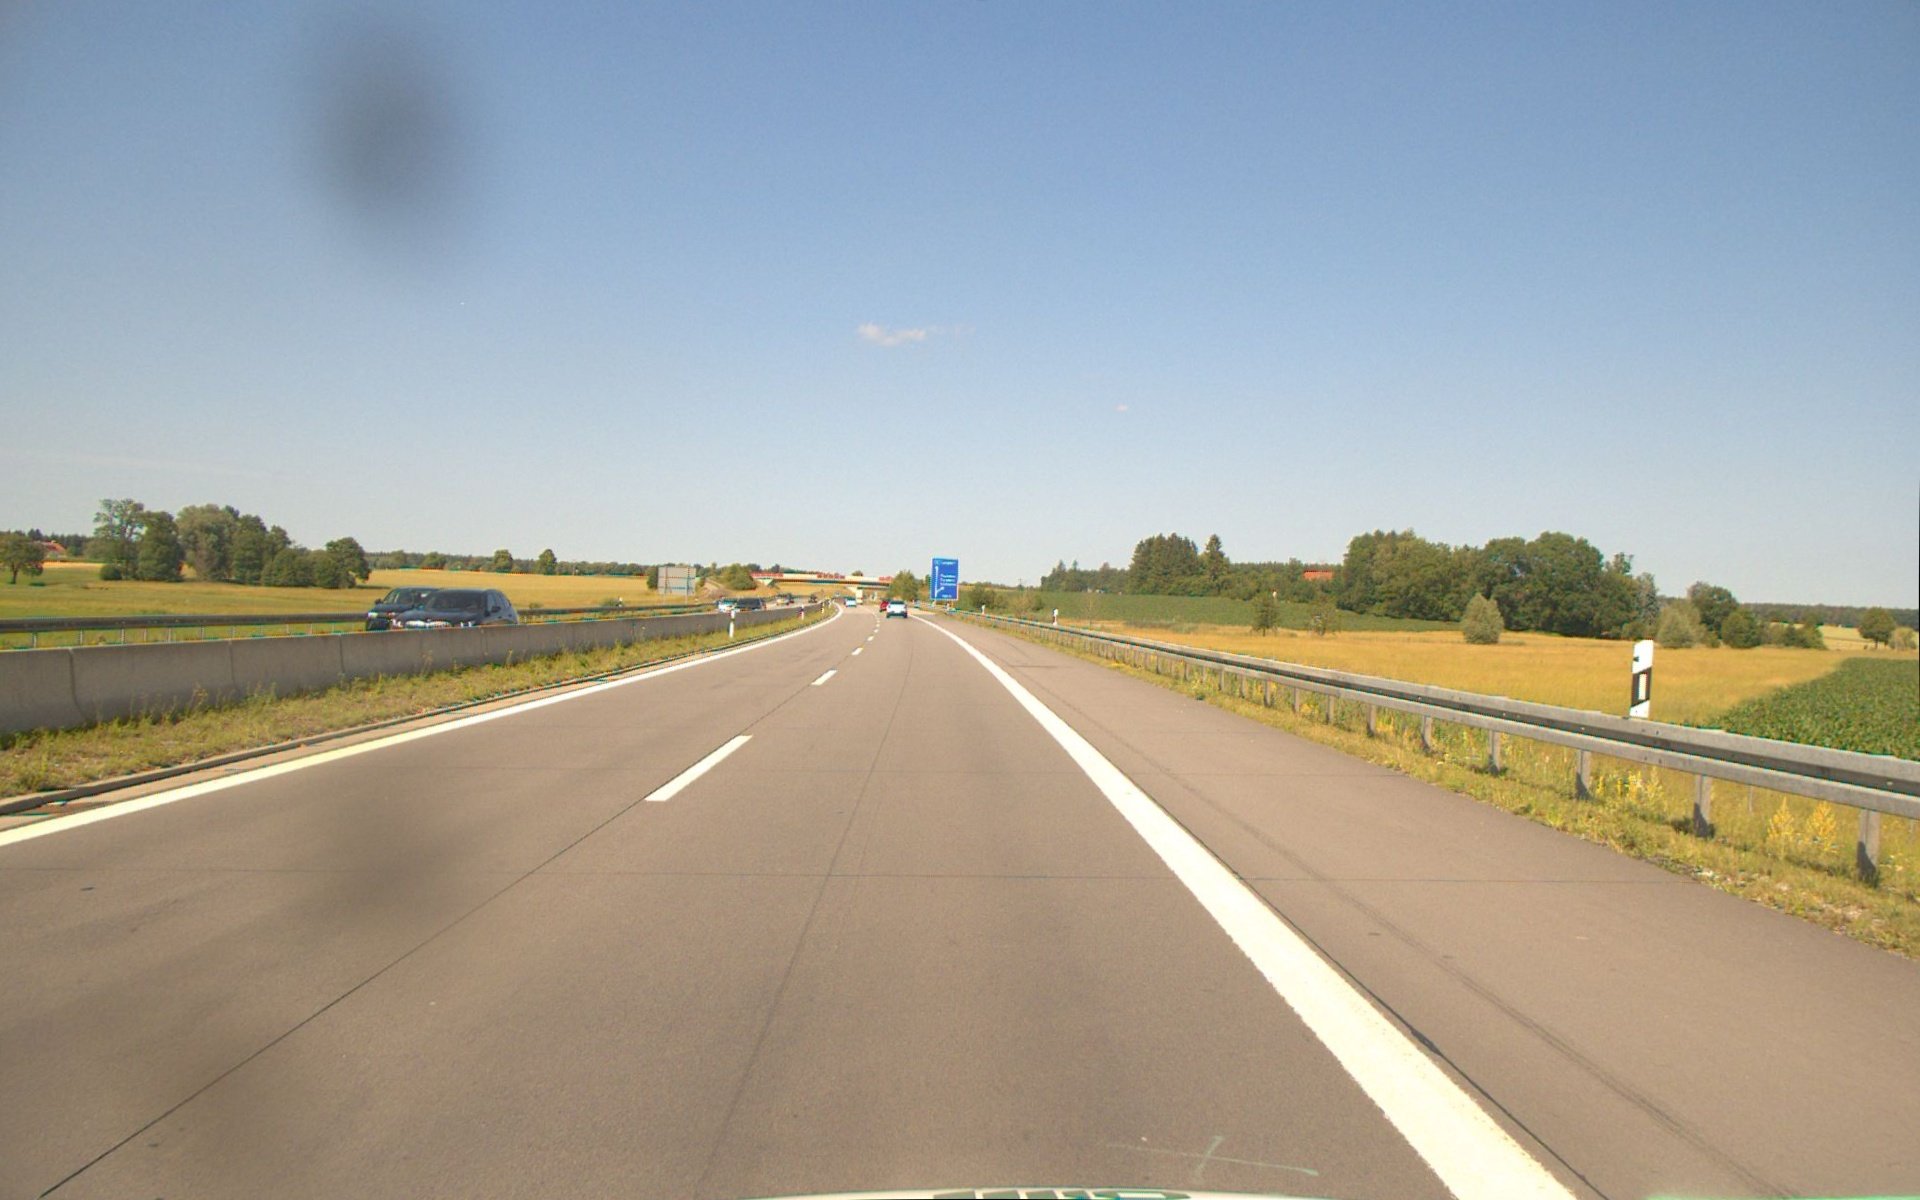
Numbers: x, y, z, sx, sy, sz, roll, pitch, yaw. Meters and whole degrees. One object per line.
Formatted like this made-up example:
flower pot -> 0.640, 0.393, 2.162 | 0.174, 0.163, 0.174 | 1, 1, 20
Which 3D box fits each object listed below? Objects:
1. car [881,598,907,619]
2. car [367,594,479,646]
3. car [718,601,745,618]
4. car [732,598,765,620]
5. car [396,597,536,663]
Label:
car -> -5.866, 0.709, 145.905 | 1.955, 1.761, 4.863 | 2, 0, -6
car -> -15.141, 0.538, 46.875 | 1.786, 1.388, 4.662 | 0, 0, -2
car -> -19.341, 0.823, 140.060 | 1.786, 1.388, 5.292 | 0, 0, -3
car -> -14.017, 0.570, 109.824 | 1.786, 1.388, 4.657 | 0, 0, -3
car -> -11.220, 0.635, 37.933 | 1.786, 1.388, 5.195 | 0, 0, -2
